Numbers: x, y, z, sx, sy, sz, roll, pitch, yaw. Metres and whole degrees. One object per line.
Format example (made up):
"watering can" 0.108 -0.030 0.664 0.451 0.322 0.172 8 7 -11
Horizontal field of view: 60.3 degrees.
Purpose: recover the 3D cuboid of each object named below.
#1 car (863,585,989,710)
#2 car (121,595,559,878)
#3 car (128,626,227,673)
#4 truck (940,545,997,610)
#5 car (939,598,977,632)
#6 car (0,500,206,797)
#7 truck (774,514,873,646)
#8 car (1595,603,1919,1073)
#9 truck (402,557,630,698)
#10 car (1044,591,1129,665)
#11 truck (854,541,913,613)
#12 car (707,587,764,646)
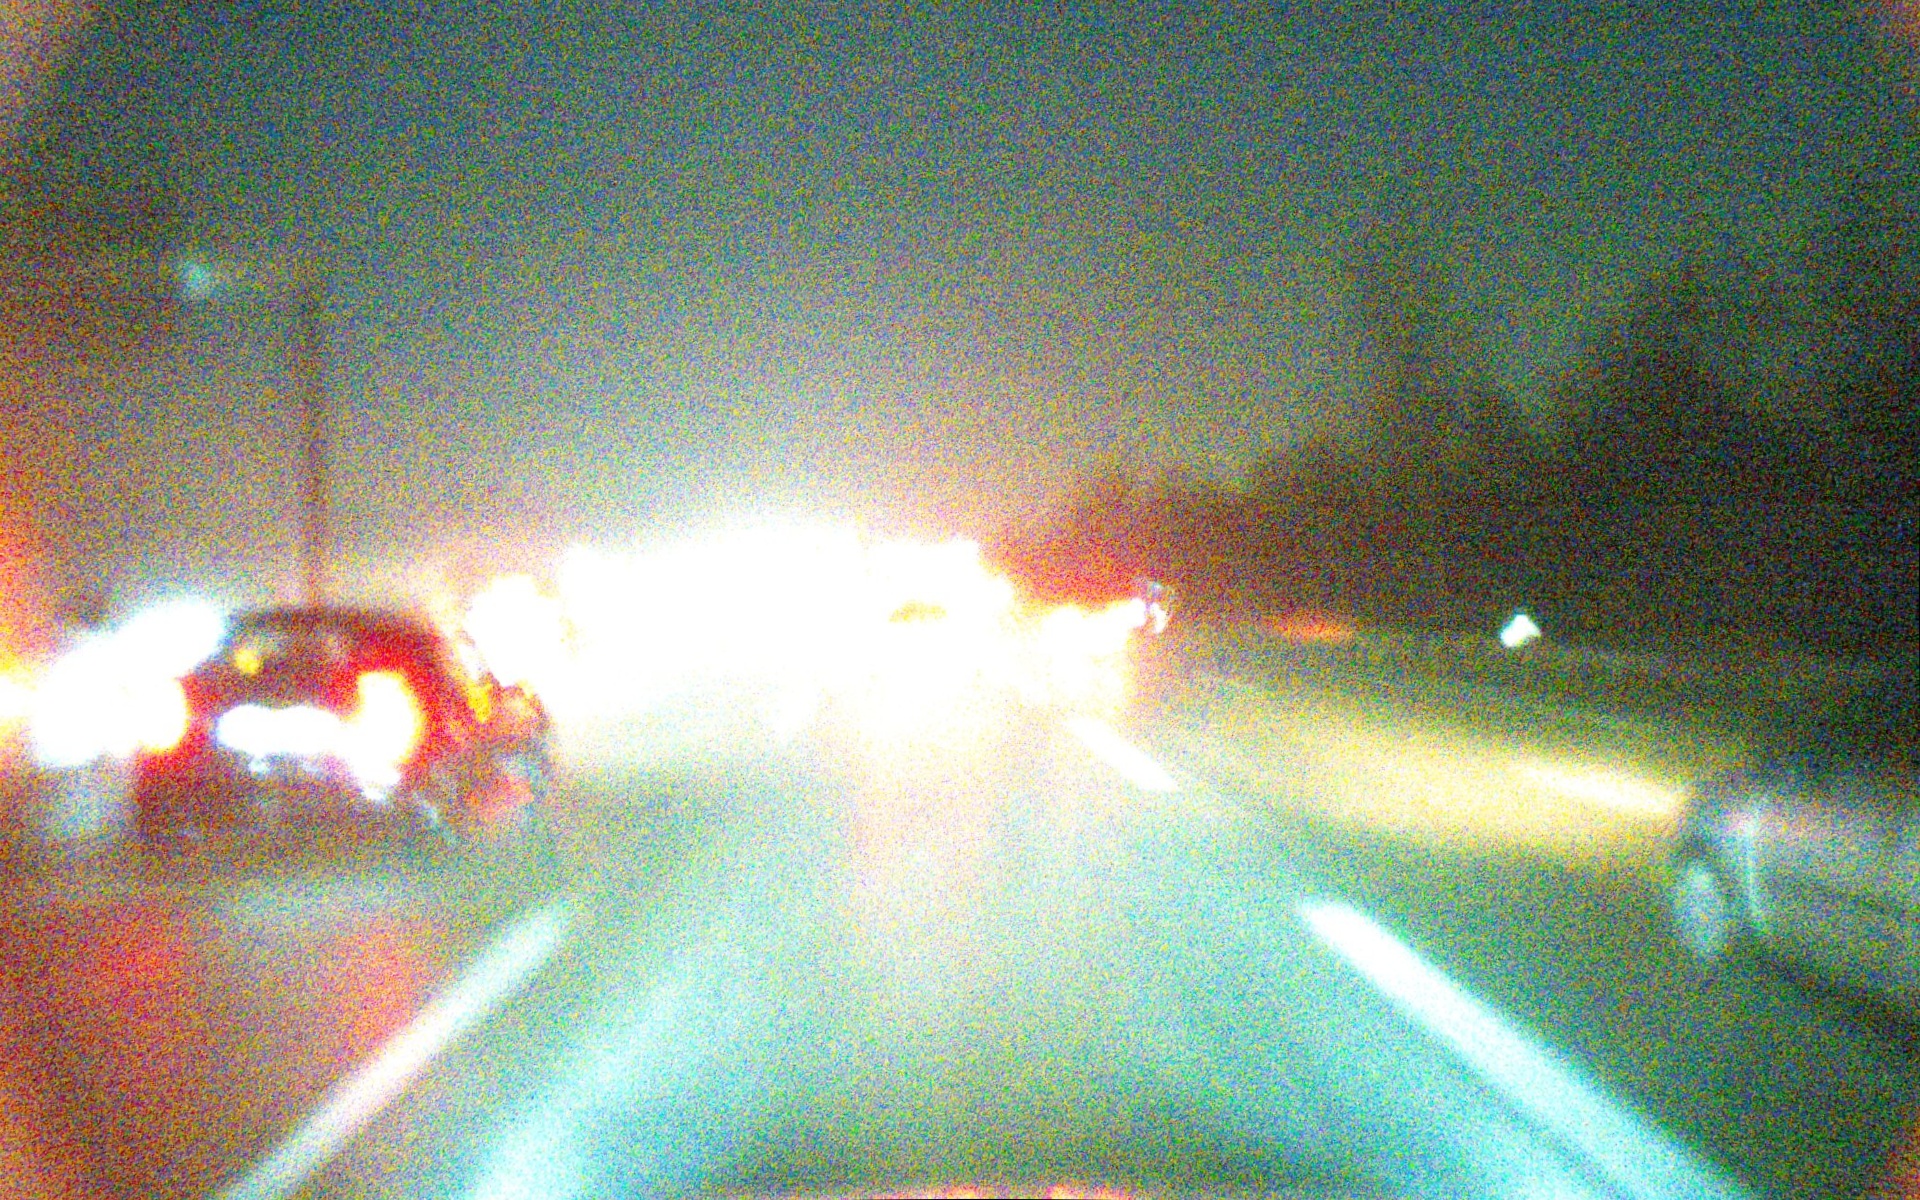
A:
"car" -0.484 0.631 24.766 1.729 1.719 4.000 0 0 -1
"car" -3.775 0.709 10.847 1.624 1.456 4.241 0 1 -5
"car" -28.756 1.789 60.915 1.764 1.600 3.999 1 0 -1
"truck" 0.612 -1.818 140.528 4.079 5.306 9.945 1 0 -4
"car" -0.123 0.792 89.102 1.953 1.733 4.457 1 0 -1
"car" -7.974 0.347 12.509 2.080 2.141 5.627 0 0 -2
"truck" -5.485 -0.700 66.046 3.585 4.820 9.841 1 0 -5
"car" 3.910 0.764 5.641 1.734 1.483 4.193 0 0 -3
"truck" -7.727 0.463 29.565 2.801 2.239 5.853 1 0 -4
"car" 3.212 0.709 42.719 1.839 1.793 3.999 1 0 -1
"truck" -6.069 -1.759 134.015 4.167 5.539 10.884 1 0 0
"car" -9.312 0.672 68.732 2.221 2.313 5.376 1 0 -8
